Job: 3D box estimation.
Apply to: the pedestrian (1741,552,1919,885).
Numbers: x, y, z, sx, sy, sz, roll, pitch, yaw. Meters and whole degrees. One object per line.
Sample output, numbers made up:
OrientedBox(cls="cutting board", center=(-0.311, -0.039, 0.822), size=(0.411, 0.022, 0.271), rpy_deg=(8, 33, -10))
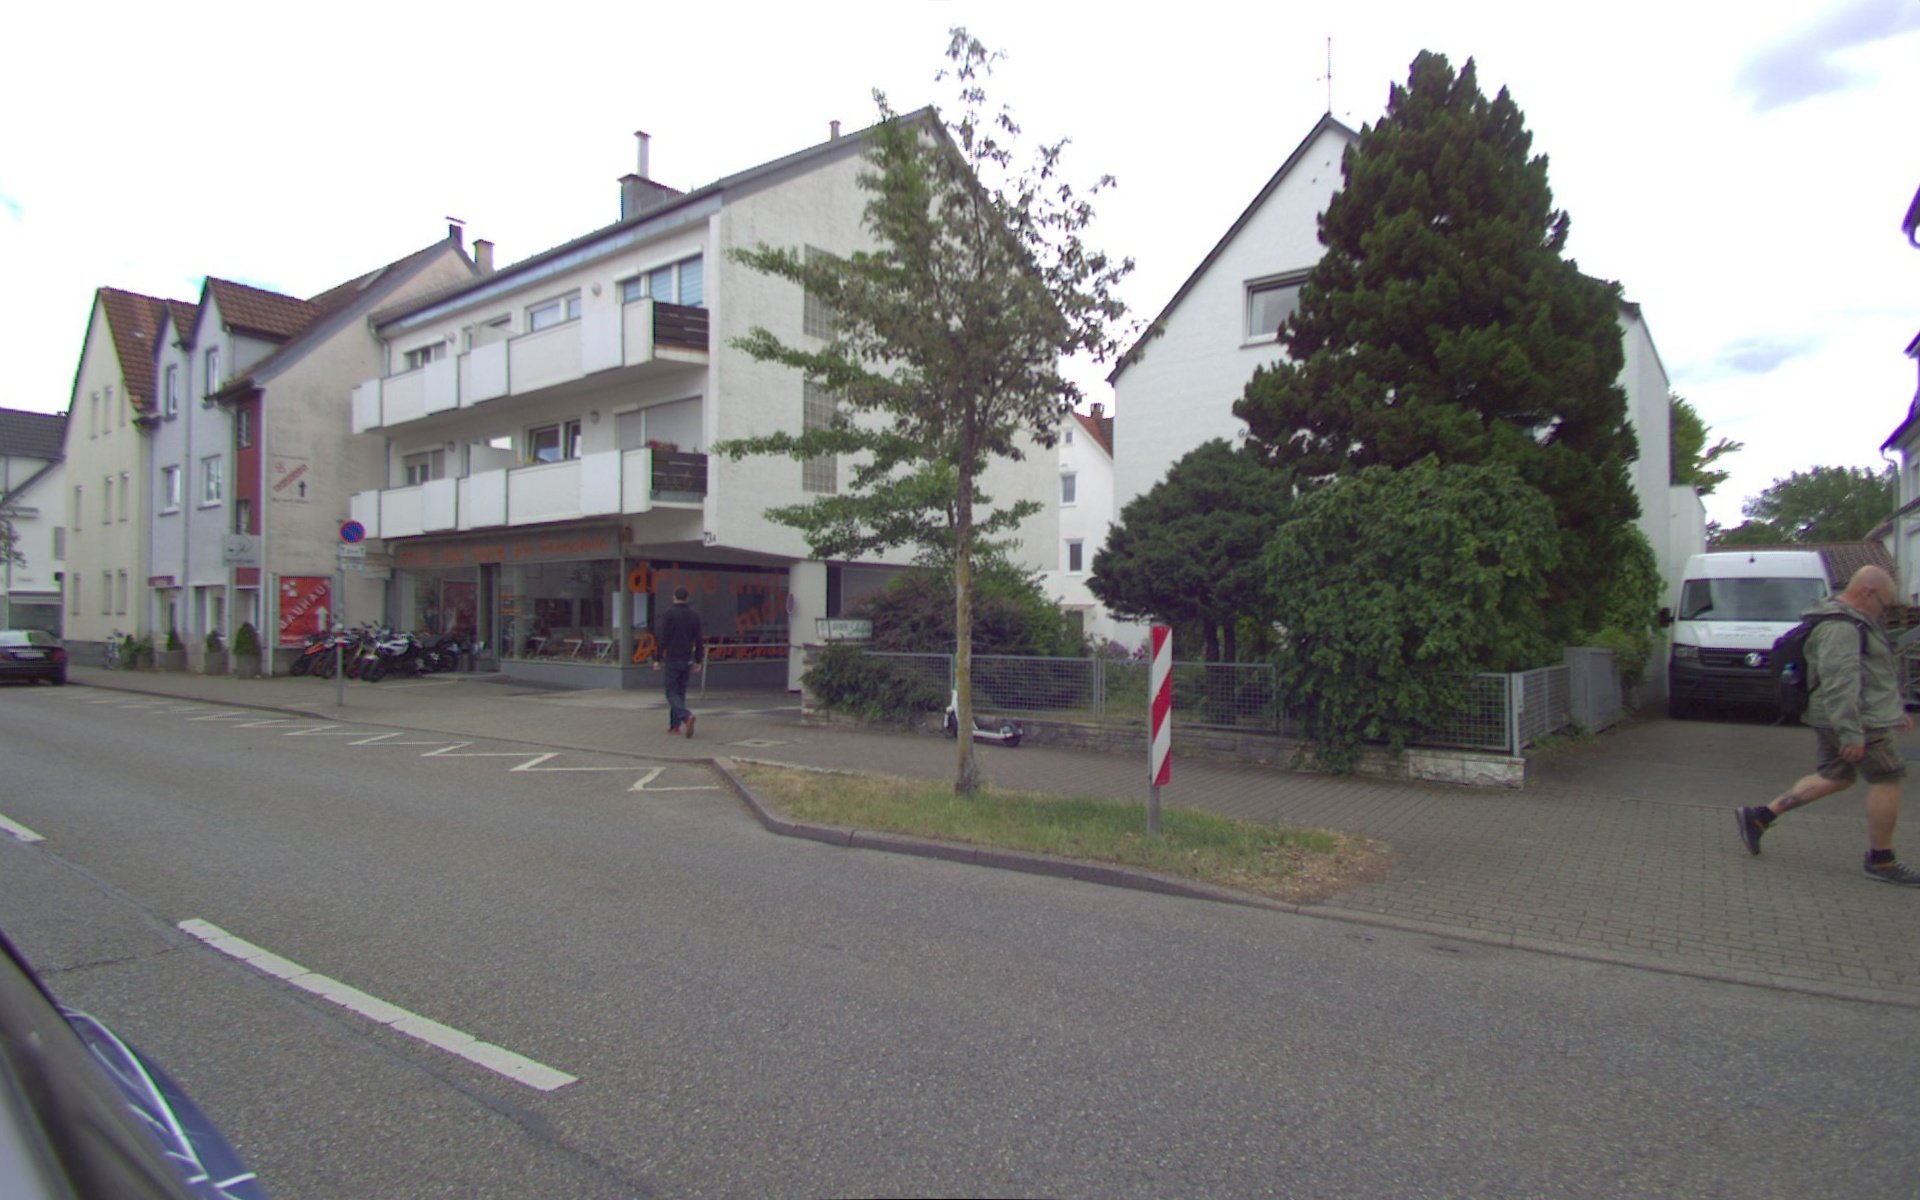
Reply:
OrientedBox(cls="pedestrian", center=(5.118, 0.621, 5.770), size=(1.018, 1.756, 0.744), rpy_deg=(-1, 1, 38))

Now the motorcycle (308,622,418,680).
OrientedBox(cls="motorcycle", center=(-14.625, 1.226, 24.869), size=(0.698, 1.275, 2.205), rpy_deg=(-1, 1, 36))

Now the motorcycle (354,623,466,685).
OrientedBox(cls="motorcycle", center=(-12.642, 1.209, 23.325), size=(0.612, 1.275, 2.205), rpy_deg=(-1, 1, 36))

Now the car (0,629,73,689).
OrientedBox(cls="car", center=(-24.645, 1.479, 26.105), size=(4.333, 1.428, 1.771), rpy_deg=(-1, -2, 37))

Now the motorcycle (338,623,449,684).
OrientedBox(cls="motorcycle", center=(-13.327, 1.221, 23.878), size=(0.612, 1.275, 2.205), rpy_deg=(-1, 1, 36))

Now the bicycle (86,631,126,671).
OrientedBox(cls="bicycle", center=(-26.265, 1.553, 31.120), size=(2.020, 1.205, 0.509), rpy_deg=(-1, -1, 37))

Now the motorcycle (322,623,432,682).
OrientedBox(cls="motorcycle", center=(-14.001, 1.232, 24.373), size=(0.612, 1.275, 2.205), rpy_deg=(-1, 1, 36))

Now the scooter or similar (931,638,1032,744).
OrientedBox(cls="scooter or similar", center=(0.231, 1.004, 11.458), size=(1.178, 1.120, 0.336), rpy_deg=(-1, -1, 38))

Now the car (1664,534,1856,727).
OrientedBox(cls="car", center=(12.421, 0.483, 15.665), size=(1.999, 2.483, 5.245), rpy_deg=(-1, -3, 40))

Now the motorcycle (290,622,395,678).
OrientedBox(cls="motorcycle", center=(-15.775, 1.249, 25.926), size=(0.612, 1.275, 2.205), rpy_deg=(-1, 1, 36))

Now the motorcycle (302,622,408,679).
OrientedBox(cls="motorcycle", center=(-15.227, 1.237, 25.522), size=(0.612, 1.275, 2.205), rpy_deg=(-1, 1, 36))

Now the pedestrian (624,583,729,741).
OrientedBox(cls="pedestrian", center=(-3.560, 0.742, 12.706), size=(1.018, 1.863, 0.744), rpy_deg=(-1, 2, 38))
